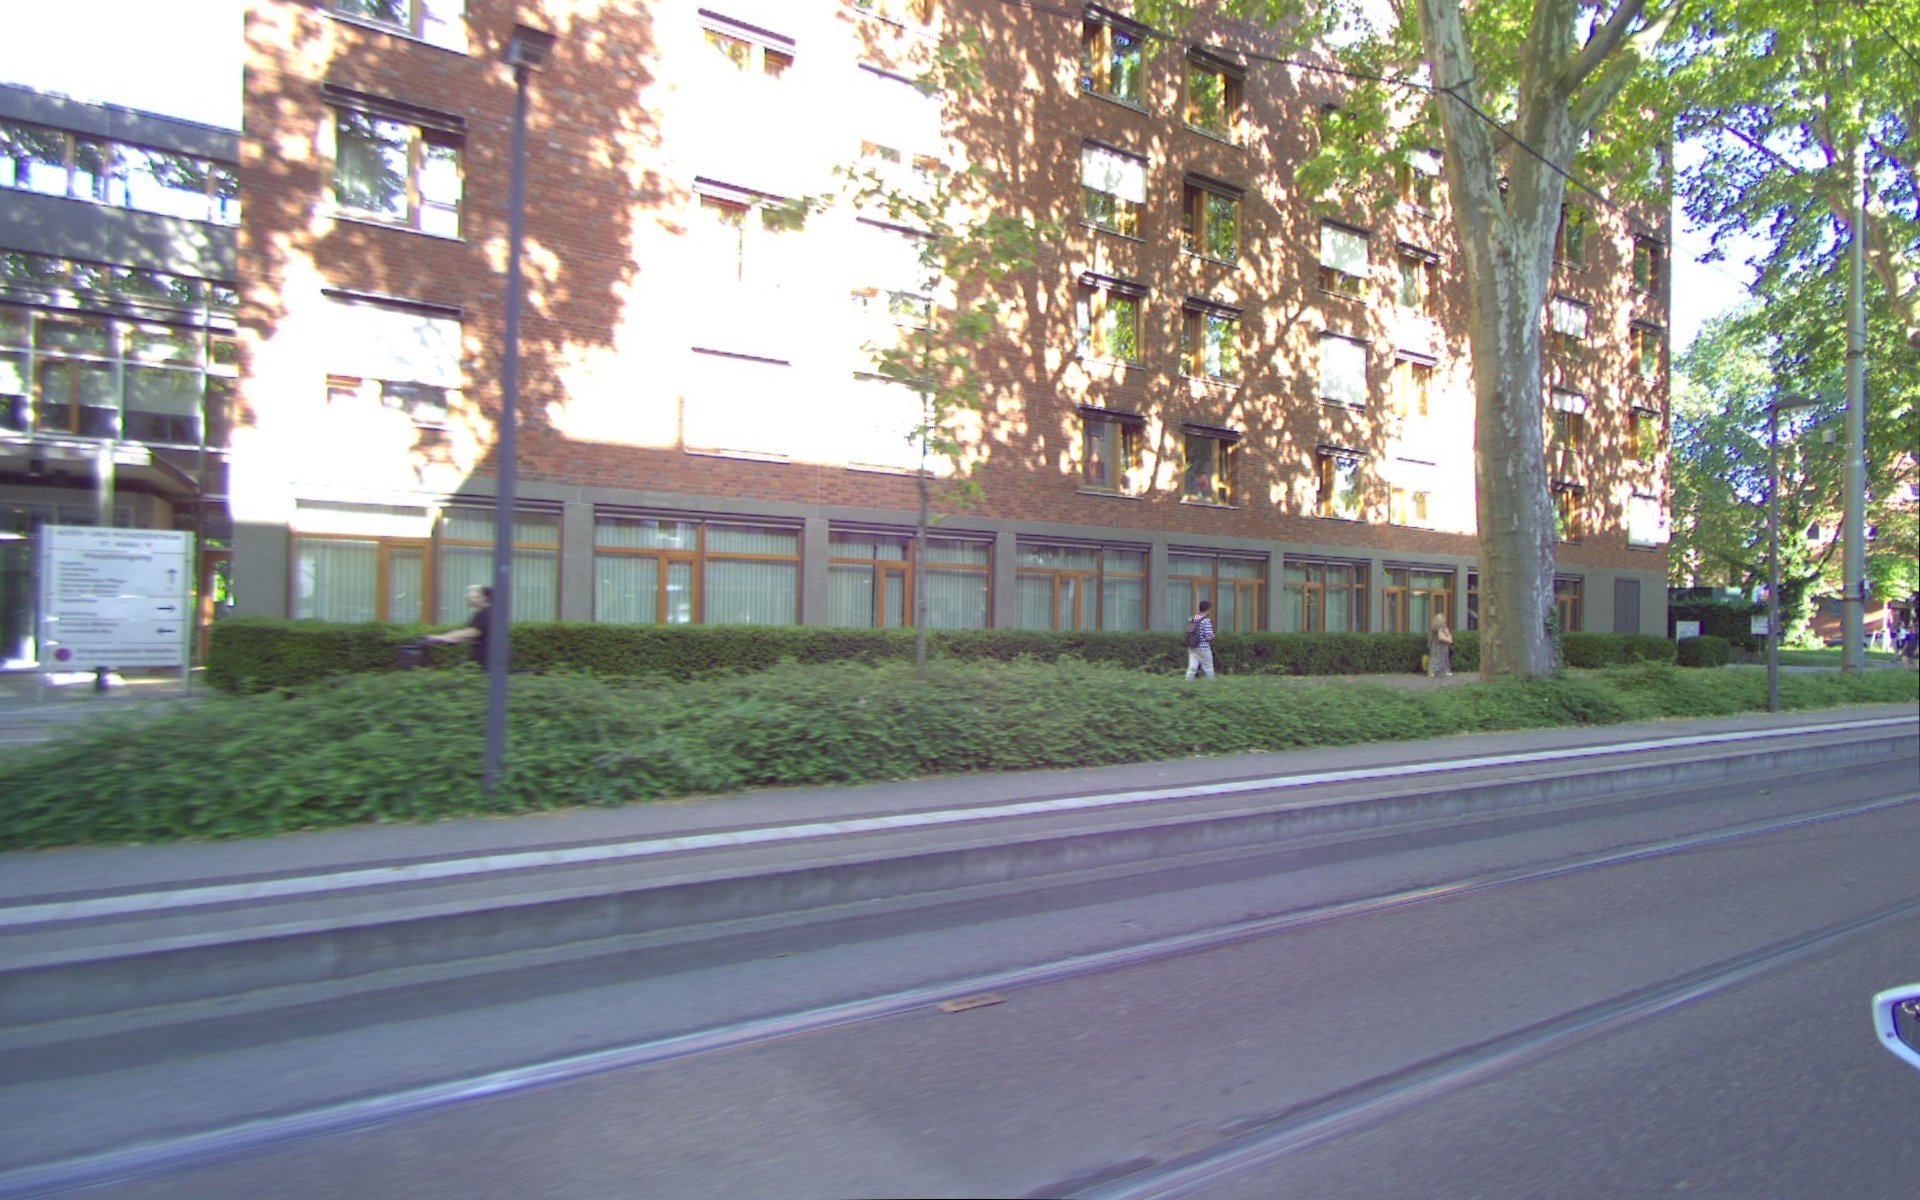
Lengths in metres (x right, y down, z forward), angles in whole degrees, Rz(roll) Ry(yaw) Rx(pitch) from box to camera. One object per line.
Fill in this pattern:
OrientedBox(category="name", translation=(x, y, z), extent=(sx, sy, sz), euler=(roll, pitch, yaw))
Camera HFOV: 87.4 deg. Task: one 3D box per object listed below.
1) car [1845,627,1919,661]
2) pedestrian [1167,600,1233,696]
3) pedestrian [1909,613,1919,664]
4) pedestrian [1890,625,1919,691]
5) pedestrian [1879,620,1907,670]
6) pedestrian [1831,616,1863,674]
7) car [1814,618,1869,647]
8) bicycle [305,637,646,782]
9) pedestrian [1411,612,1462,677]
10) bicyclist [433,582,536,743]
OrientedBox(category="car", translation=(62.145, 2.926, 66.993), extent=(1.976, 2.040, 4.230), euler=(2, -1, -30))
OrientedBox(category="pedestrian", translation=(4.350, 0.862, 18.214), extent=(0.851, 1.694, 0.732), euler=(2, 0, -30))
OrientedBox(category="pedestrian", translation=(38.037, 1.526, 39.665), extent=(0.493, 1.976, 0.668), euler=(1, 1, -33))
OrientedBox(category="pedestrian", translation=(28.990, 1.771, 30.702), extent=(0.492, 1.976, 0.669), euler=(2, 0, -30))
OrientedBox(category="pedestrian", translation=(38.141, 1.832, 41.072), extent=(0.493, 1.976, 0.668), euler=(1, 1, -33))
OrientedBox(category="pedestrian", translation=(30.422, 1.529, 34.454), extent=(0.488, 1.976, 0.674), euler=(2, 0, 3))
OrientedBox(category="car", translation=(66.086, 2.444, 75.285), extent=(3.953, 2.040, 1.984), euler=(2, 0, -30))
OrientedBox(category="bicycle", translation=(-4.769, 1.032, 10.081), extent=(2.943, 1.256, 0.950), euler=(2, 0, -31))
OrientedBox(category="pedestrian", translation=(12.300, 1.139, 25.950), extent=(0.935, 1.626, 0.771), euler=(2, 0, -30))
OrientedBox(category="bicyclist", translation=(-4.779, 0.597, 10.073), extent=(0.828, 1.511, 0.950), euler=(2, 0, -30))
